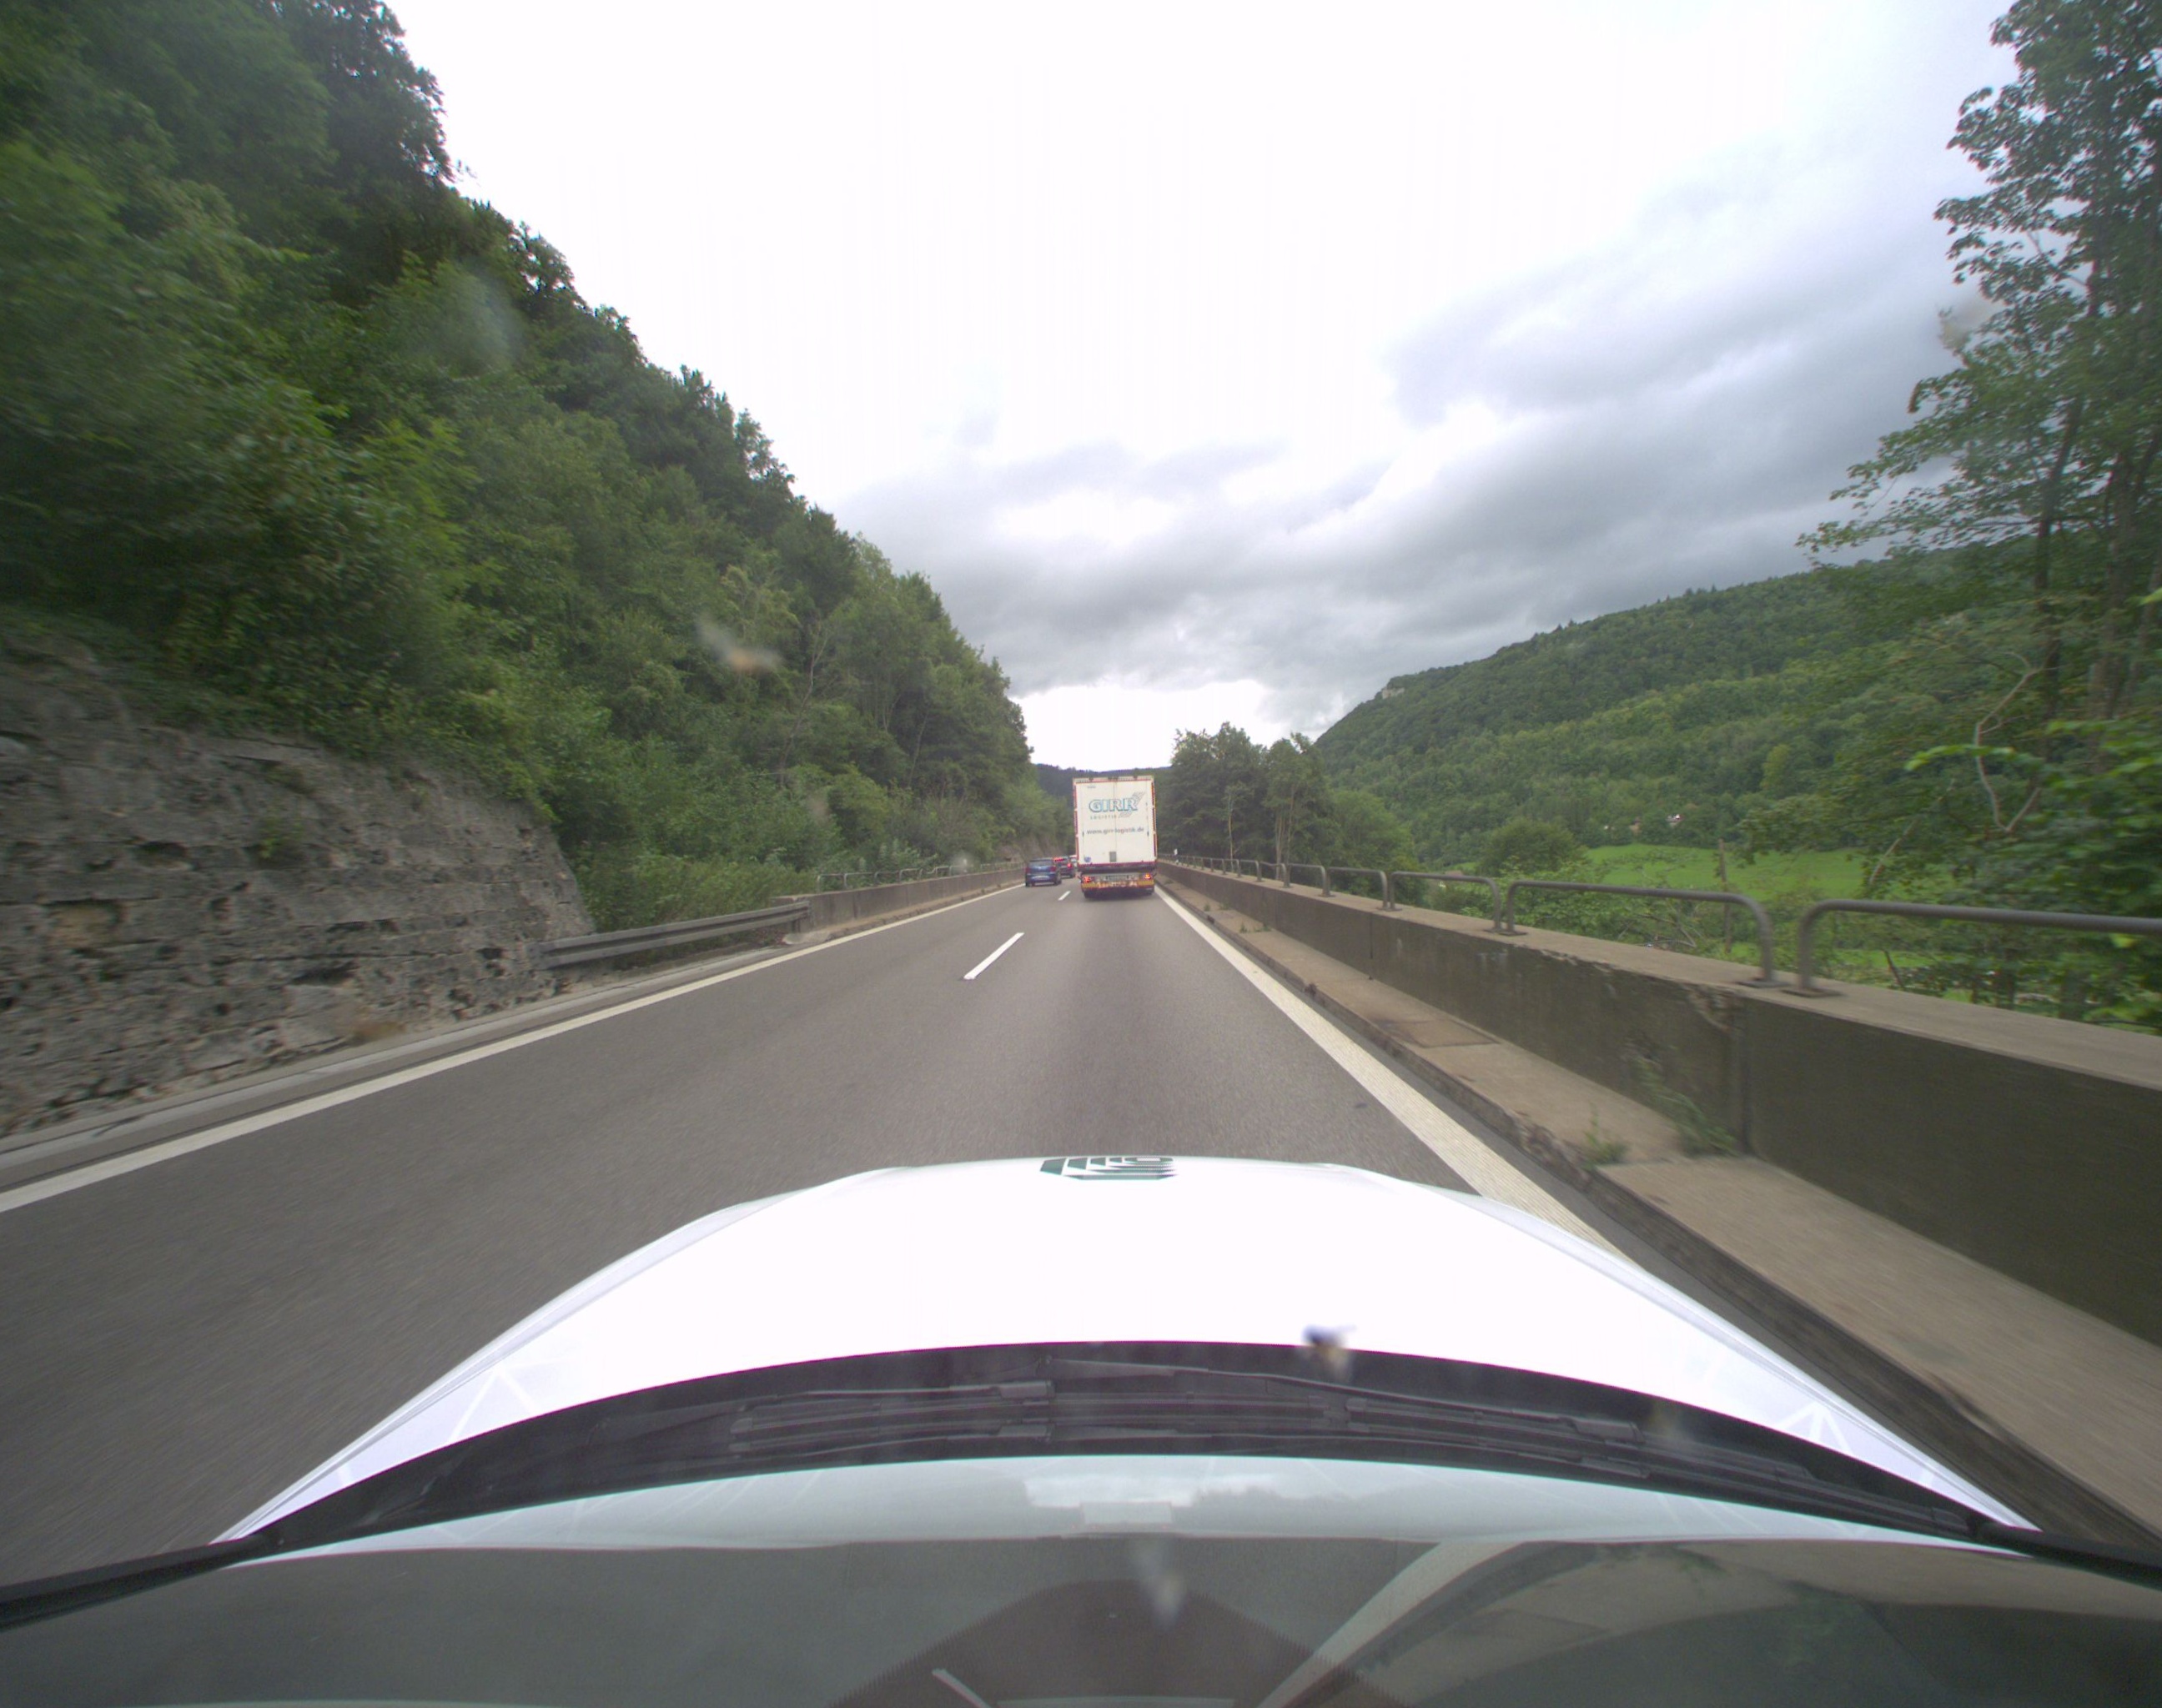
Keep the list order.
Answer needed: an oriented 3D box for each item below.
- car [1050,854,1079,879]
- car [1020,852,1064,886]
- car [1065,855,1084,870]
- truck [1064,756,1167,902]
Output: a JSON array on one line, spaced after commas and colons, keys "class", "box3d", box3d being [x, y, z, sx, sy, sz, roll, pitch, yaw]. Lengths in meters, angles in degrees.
[{"class": "car", "box3d": [-1.084, 0.801, 54.467, 1.739, 1.587, 4.001, -2, 0, 1]}, {"class": "car", "box3d": [-1.987, 0.743, 42.784, 1.986, 1.596, 4.355, -1, 1, 1]}, {"class": "car", "box3d": [-0.615, 0.871, 82.863, 1.739, 1.486, 4.001, -1, -1, 1]}, {"class": "truck", "box3d": [1.373, -0.812, 32.976, 3.072, 4.464, 15.164, -2, 0, 2]}]
